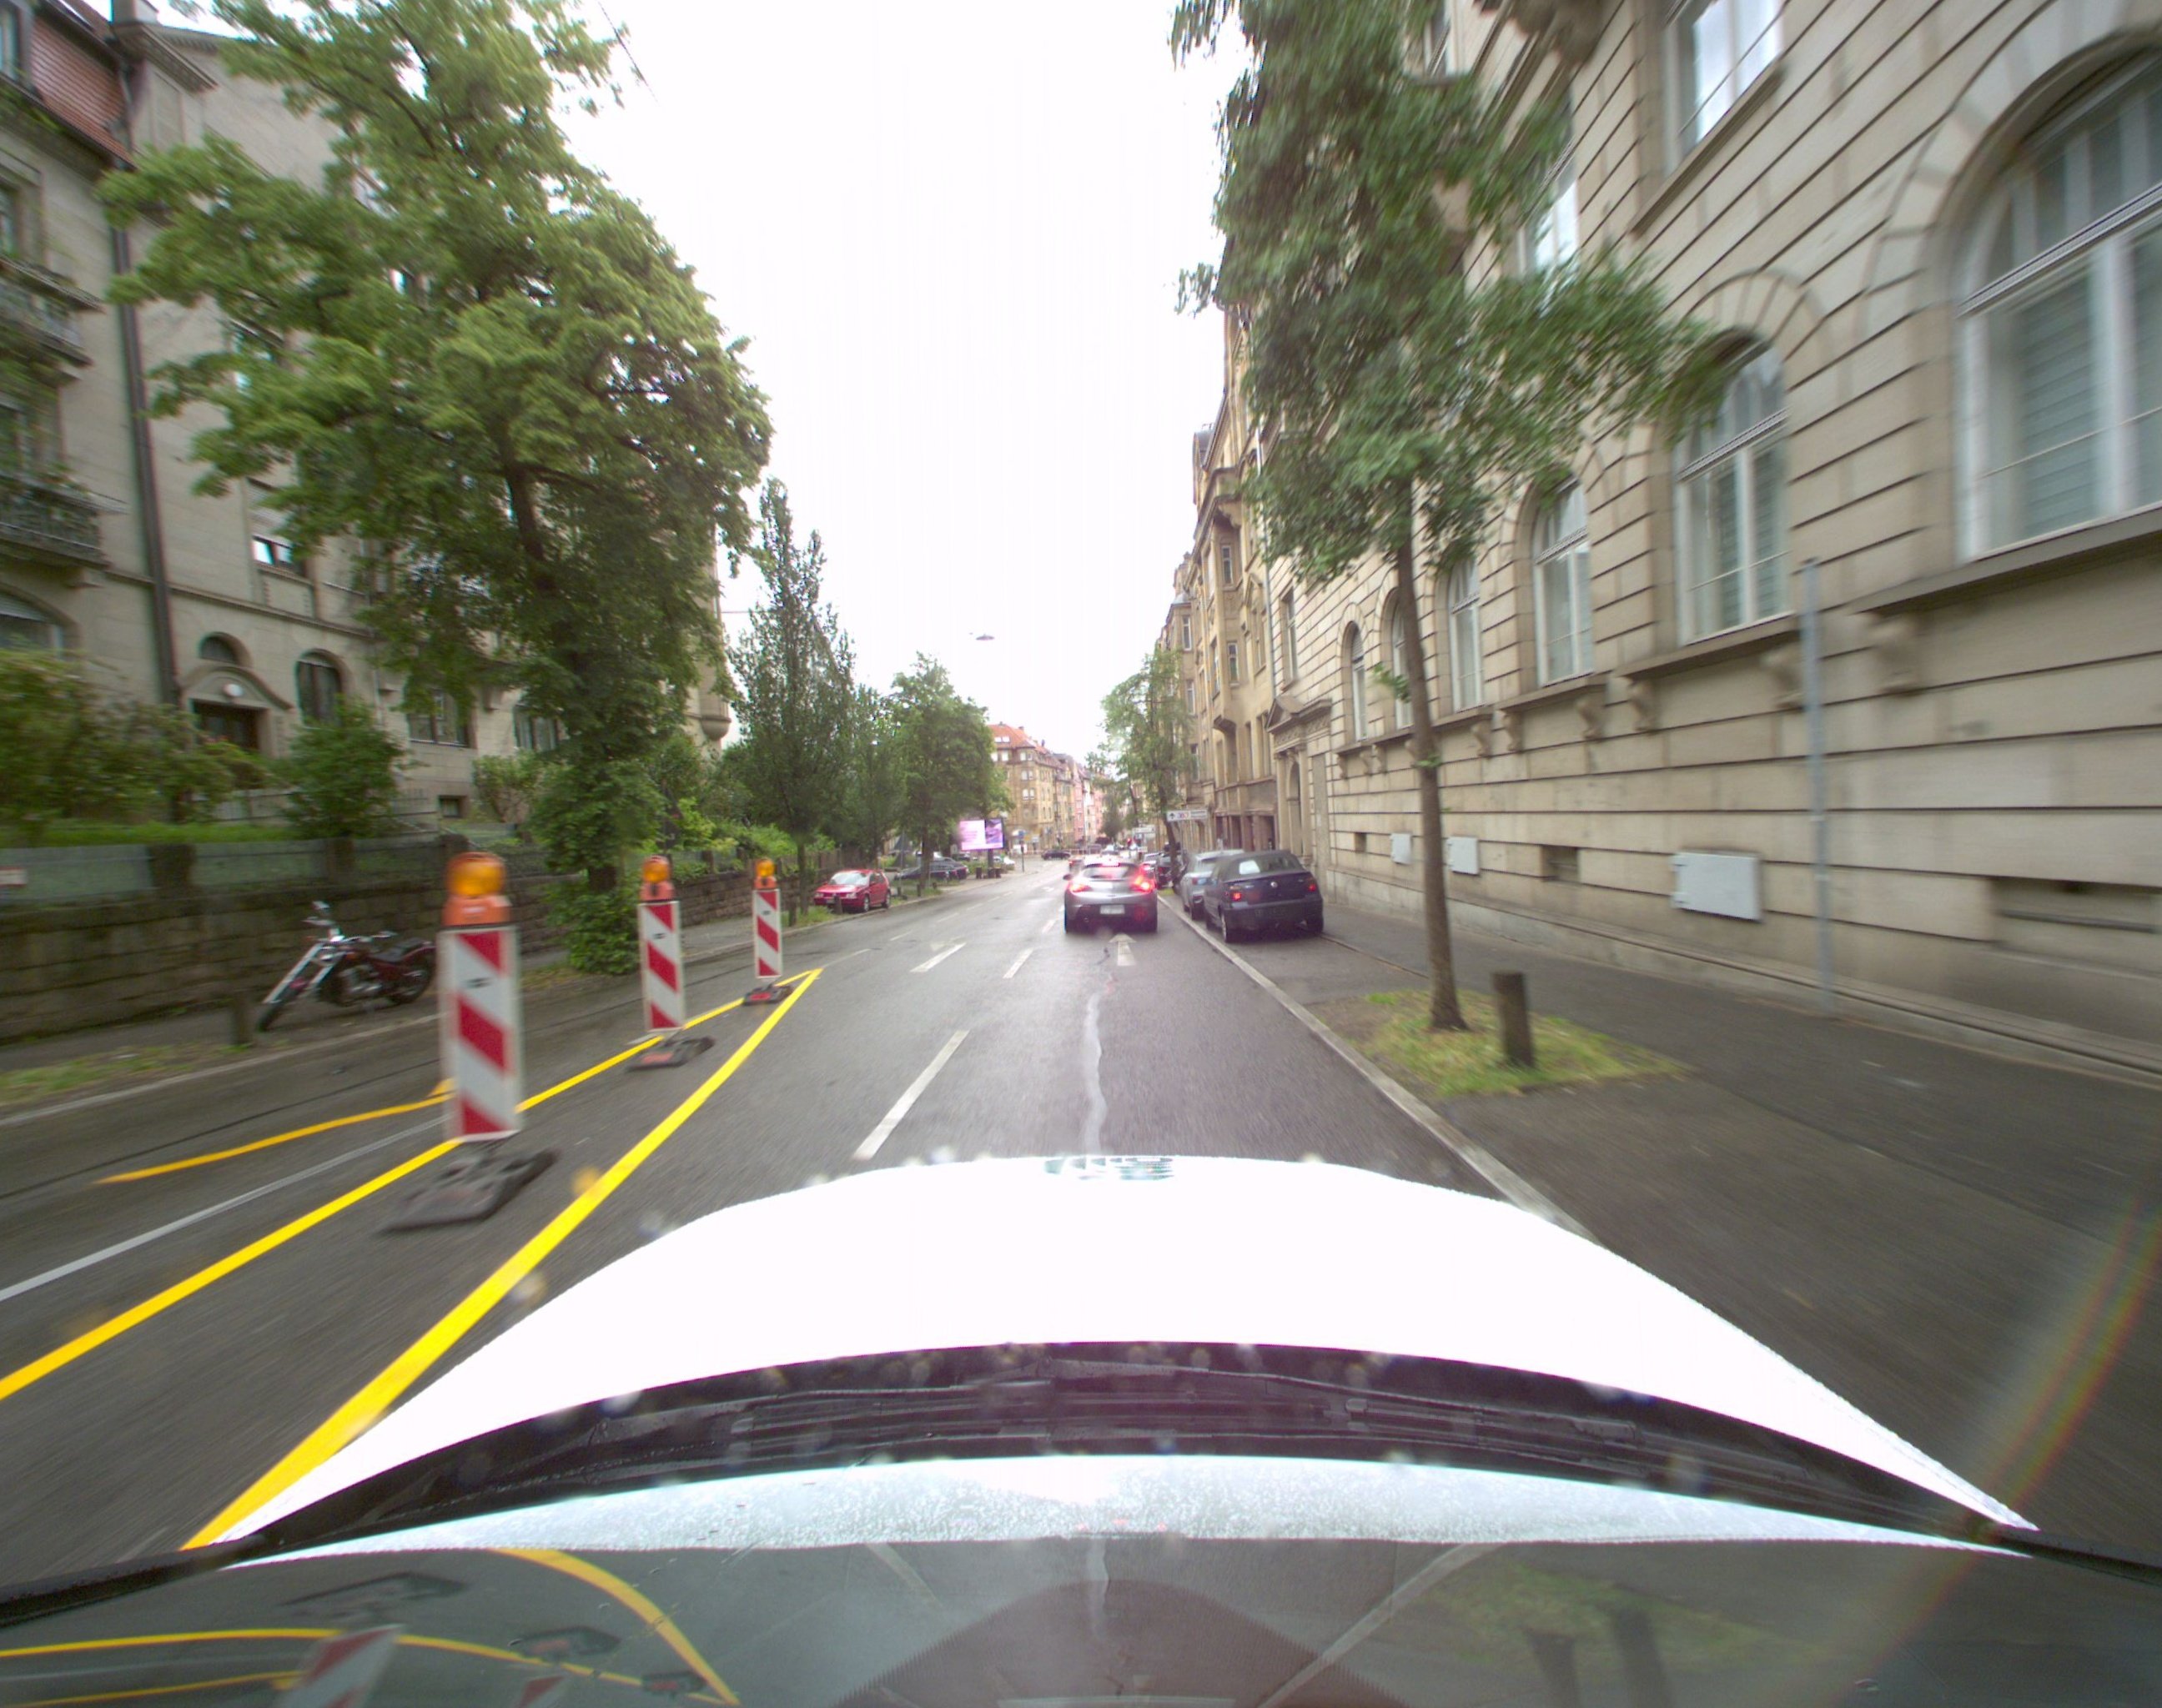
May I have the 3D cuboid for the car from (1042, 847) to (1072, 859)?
[{"bbox_3d":[-3.395,-0.162,116.195,4.212,1.585,1.940,-1,0,1],"label":"car"}]

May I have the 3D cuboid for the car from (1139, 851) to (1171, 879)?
[{"bbox_3d":[4.417,0.650,49.059,1.631,1.524,3.860,-3,0,2],"label":"car"}]

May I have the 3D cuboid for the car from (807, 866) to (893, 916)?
[{"bbox_3d":[-8.008,1.233,28.551,1.631,1.439,4.082,-3,0,2],"label":"car"}]

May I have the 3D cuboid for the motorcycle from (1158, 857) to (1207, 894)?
[{"bbox_3d":[3.490,0.726,27.920,0.649,1.235,1.994,-2,-1,41],"label":"motorcycle"}]

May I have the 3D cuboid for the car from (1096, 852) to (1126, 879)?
[{"bbox_3d":[1.950,0.751,53.821,1.652,1.543,3.664,-5,0,-1],"label":"car"}]

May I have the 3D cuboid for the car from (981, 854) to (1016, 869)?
[{"bbox_3d":[-10.485,0.937,103.652,3.958,1.750,1.759,-1,-1,14],"label":"car"}]

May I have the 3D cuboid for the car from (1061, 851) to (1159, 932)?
[{"bbox_3d":[0.583,0.709,17.262,1.805,1.449,3.870,-2,0,1],"label":"car"}]

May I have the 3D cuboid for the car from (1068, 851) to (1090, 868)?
[{"bbox_3d":[-0.203,0.546,81.073,1.986,1.500,4.002,-3,0,2],"label":"car"}]

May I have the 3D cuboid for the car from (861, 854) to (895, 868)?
[{"bbox_3d":[-27.015,0.918,108.331,3.955,1.750,1.760,-1,-1,17],"label":"car"}]

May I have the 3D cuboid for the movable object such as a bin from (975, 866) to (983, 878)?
[{"bbox_3d":[-8.979,1.604,71.560,0.624,1.058,0.633,0,-1,-4],"label":"movable object such as a bin"}]

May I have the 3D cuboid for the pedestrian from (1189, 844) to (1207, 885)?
[{"bbox_3d":[5.459,0.490,38.064,0.713,1.870,0.636,-1,-1,1],"label":"pedestrian"}]

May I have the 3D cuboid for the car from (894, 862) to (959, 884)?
[{"bbox_3d":[-10.876,1.311,57.337,4.321,1.243,1.633,-3,0,-18],"label":"car"}]

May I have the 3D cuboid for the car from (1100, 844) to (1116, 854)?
[{"bbox_3d":[4.640,-0.777,137.761,1.980,1.684,4.013,0,0,12],"label":"car"}]

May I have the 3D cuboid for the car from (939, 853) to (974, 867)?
[{"bbox_3d":[-16.043,0.774,105.080,3.955,1.750,1.760,-1,-1,17],"label":"car"}]

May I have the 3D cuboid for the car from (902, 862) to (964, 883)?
[{"bbox_3d":[-10.952,1.329,60.359,4.321,1.243,1.633,-3,0,-18],"label":"car"}]

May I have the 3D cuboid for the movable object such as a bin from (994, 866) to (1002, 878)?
[{"bbox_3d":[-7.414,1.602,72.553,0.657,1.058,0.626,0,-1,-7],"label":"movable object such as a bin"}]

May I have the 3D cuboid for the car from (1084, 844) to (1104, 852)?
[{"bbox_3d":[2.523,-1.197,163.125,3.972,1.750,2.001,0,0,1],"label":"car"}]

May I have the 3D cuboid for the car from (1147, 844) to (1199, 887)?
[{"bbox_3d":[3.810,0.439,34.302,1.632,1.602,3.856,-3,0,-1],"label":"car"}]

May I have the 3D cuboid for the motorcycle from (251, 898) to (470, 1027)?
[{"bbox_3d":[-8.953,1.281,10.284,0.762,1.346,2.204,-1,-1,2],"label":"motorcycle"}]

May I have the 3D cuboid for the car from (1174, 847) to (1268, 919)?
[{"bbox_3d":[3.239,0.614,19.470,1.631,1.469,3.860,-3,0,2],"label":"car"}]

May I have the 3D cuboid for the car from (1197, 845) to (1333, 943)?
[{"bbox_3d":[3.095,0.613,14.356,1.631,1.429,3.377,-3,0,1],"label":"car"}]

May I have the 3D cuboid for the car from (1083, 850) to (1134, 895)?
[{"bbox_3d":[0.999,0.652,30.896,1.766,1.504,3.869,-2,0,1],"label":"car"}]

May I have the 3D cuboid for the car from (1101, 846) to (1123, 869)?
[{"bbox_3d":[2.465,0.288,65.579,1.650,1.782,3.667,-2,0,2],"label":"car"}]

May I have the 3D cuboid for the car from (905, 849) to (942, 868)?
[{"bbox_3d":[-21.800,0.617,112.737,4.668,2.442,2.009,-1,-1,17],"label":"car"}]

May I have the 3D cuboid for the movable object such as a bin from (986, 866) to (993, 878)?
[{"bbox_3d":[-8.037,1.567,71.468,0.624,1.058,0.719,0,-1,-4],"label":"movable object such as a bin"}]
